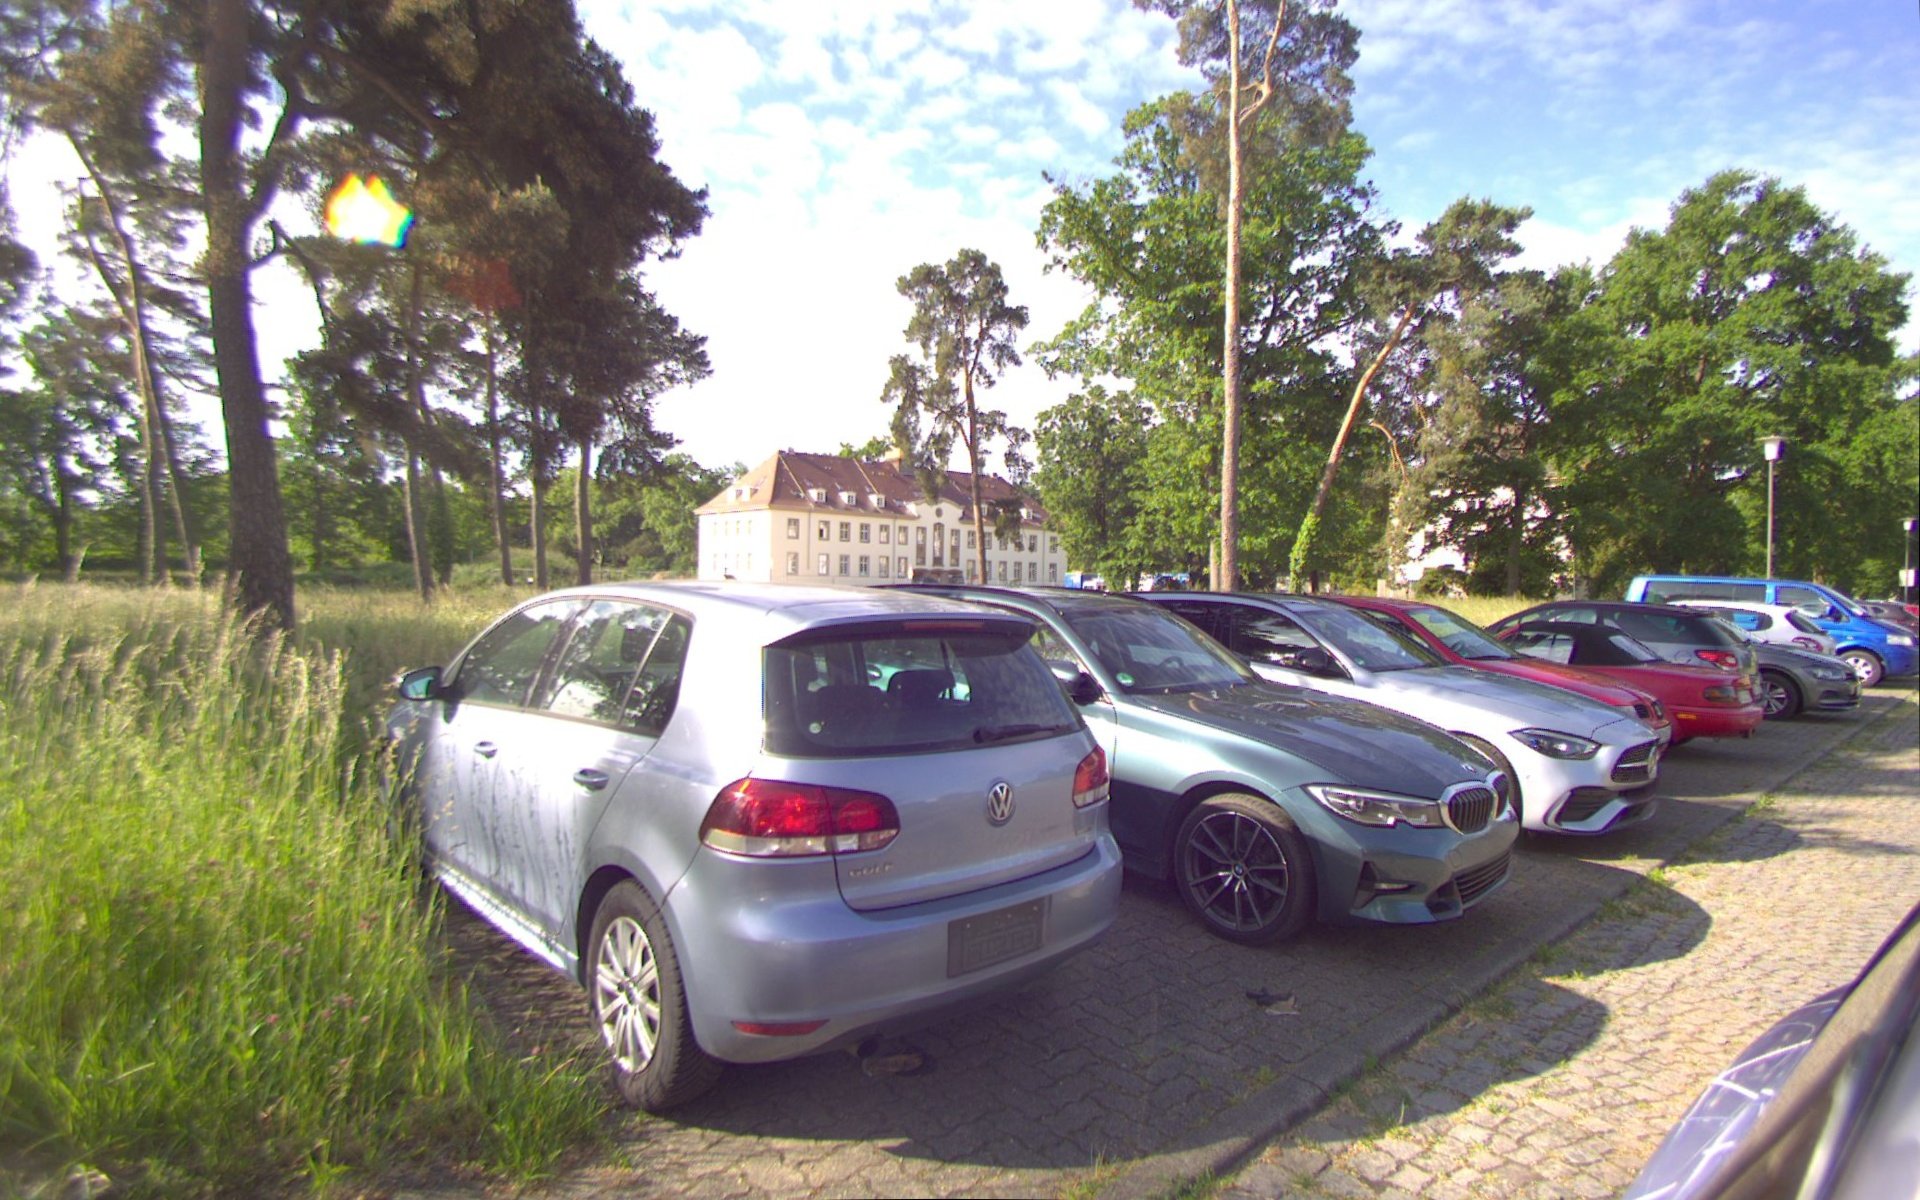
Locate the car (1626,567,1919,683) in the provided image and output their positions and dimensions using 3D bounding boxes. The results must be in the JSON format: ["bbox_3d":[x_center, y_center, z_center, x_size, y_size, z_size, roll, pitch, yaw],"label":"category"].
[{"bbox_3d":[16.174,0.380,19.952,1.965,2.039,4.725,0,1,-40],"label":"car"}]

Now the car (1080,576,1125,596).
[{"bbox_3d":[14.868,-1.441,105.378,4.689,2.039,1.997,0,1,-41],"label":"car"}]

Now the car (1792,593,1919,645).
[{"bbox_3d":[29.899,0.593,33.005,1.725,1.537,3.997,0,1,-38],"label":"car"}]

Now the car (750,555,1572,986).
[{"bbox_3d":[0.786,0.553,5.952,1.796,1.535,4.498,0,2,-45],"label":"car"}]

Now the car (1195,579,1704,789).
[{"bbox_3d":[4.317,0.583,9.402,1.632,1.410,3.914,0,3,-42],"label":"car"}]

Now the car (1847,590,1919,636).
[{"bbox_3d":[37.505,0.512,39.572,1.725,1.763,3.996,0,0,-38],"label":"car"}]

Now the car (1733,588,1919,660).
[{"bbox_3d":[22.560,0.548,25.987,1.725,1.660,3.997,0,1,-38],"label":"car"}]

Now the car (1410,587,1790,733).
[{"bbox_3d":[7.895,0.624,12.747,1.523,1.509,3.775,0,1,-42],"label":"car"}]

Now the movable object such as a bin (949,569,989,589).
[{"bbox_3d":[1.057,-2.516,122.619,1.994,2.352,4.907,2,1,44],"label":"movable object such as a bin"}]

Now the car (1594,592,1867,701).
[{"bbox_3d":[12.313,0.660,16.322,1.423,1.509,3.264,0,1,-39],"label":"car"}]

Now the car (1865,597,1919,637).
[{"bbox_3d":[40.981,0.707,42.591,1.724,1.635,3.997,-1,-1,-37],"label":"car"}]

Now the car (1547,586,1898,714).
[{"bbox_3d":[10.471,0.581,14.170,1.478,1.509,3.629,0,1,-32],"label":"car"}]

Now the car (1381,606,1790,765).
[{"bbox_3d":[6.333,0.749,10.497,1.396,1.271,3.353,0,1,-42],"label":"car"}]

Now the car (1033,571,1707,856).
[{"bbox_3d":[2.788,0.569,7.736,1.795,1.419,4.419,0,3,-42],"label":"car"}]

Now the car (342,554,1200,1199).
[{"bbox_3d":[-1.197,0.569,4.386,1.839,1.478,4.022,0,2,-42],"label":"car"}]
